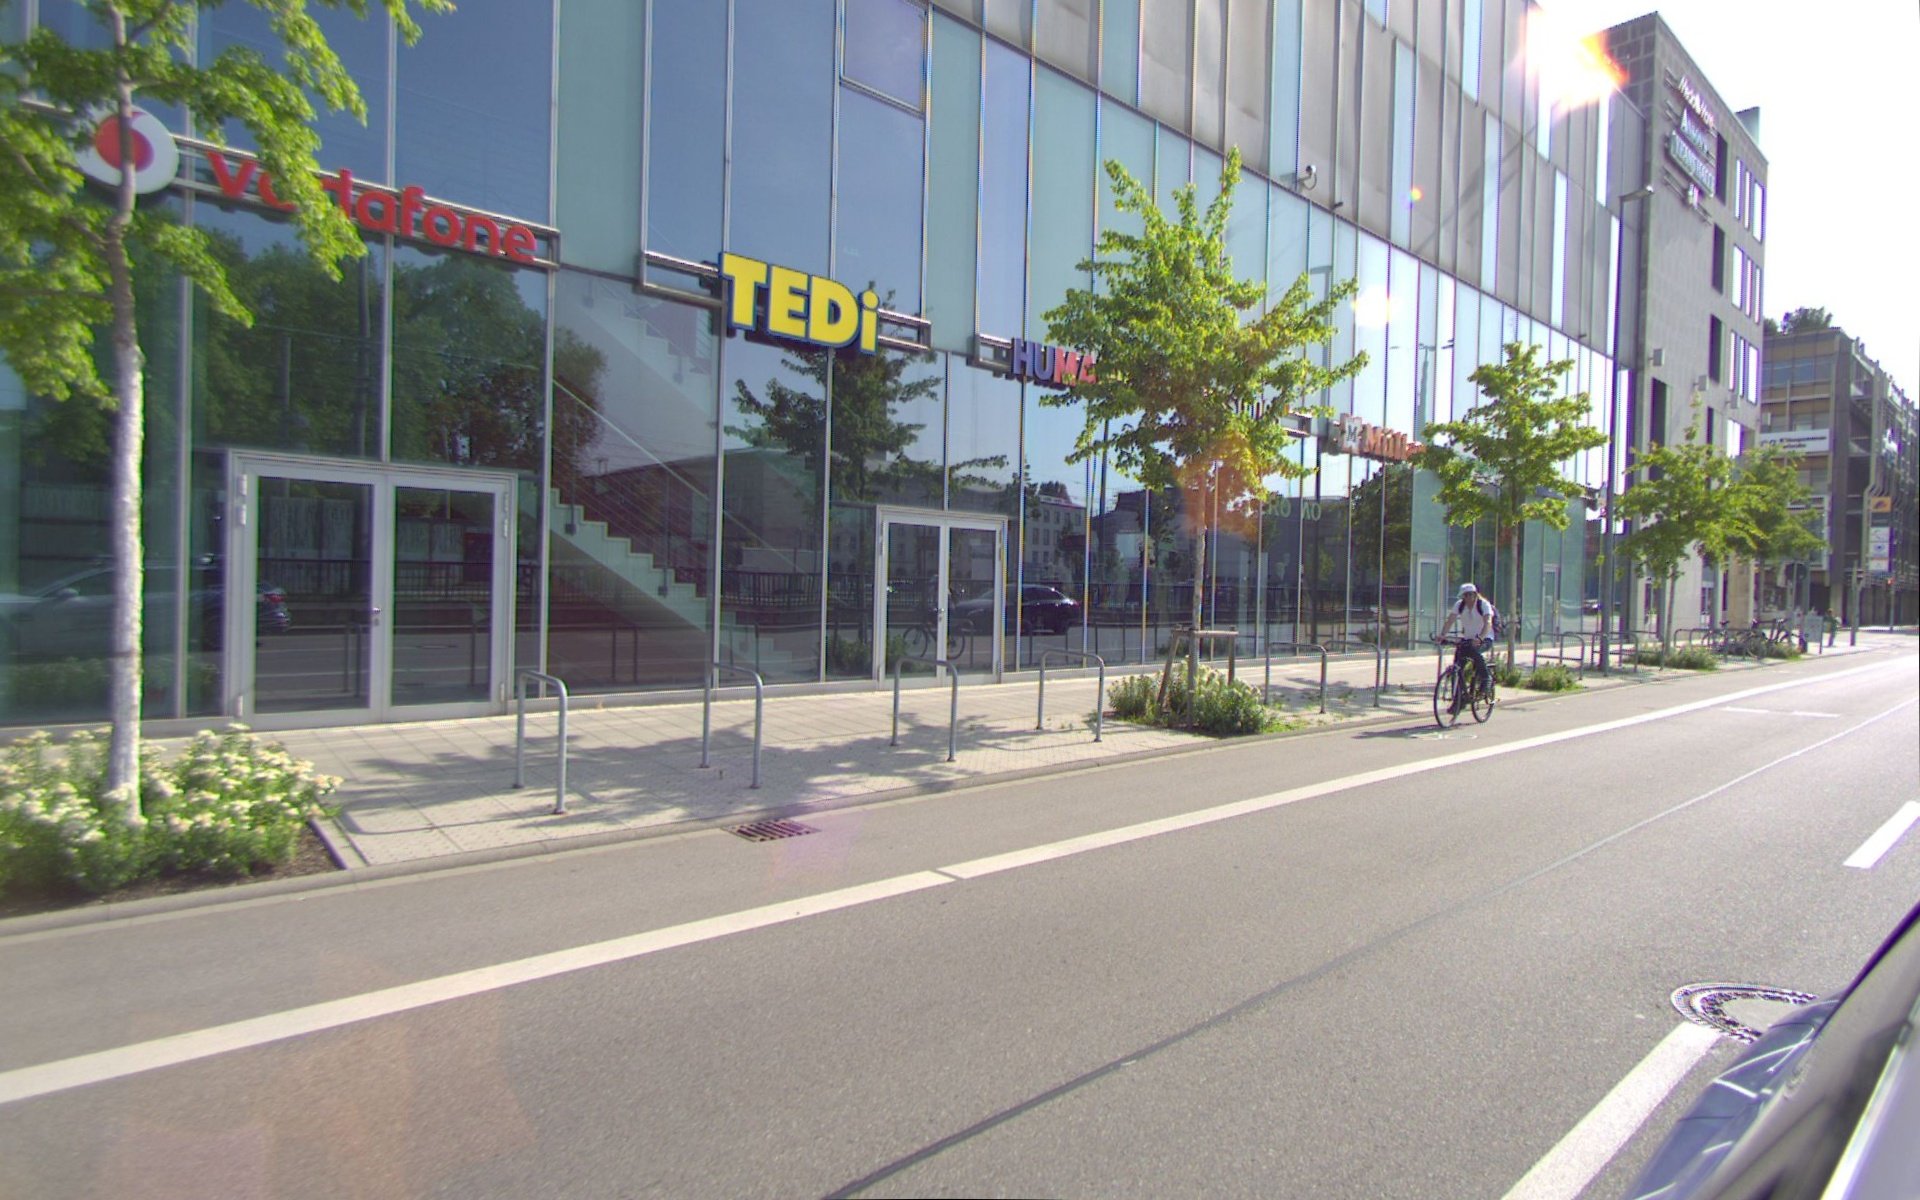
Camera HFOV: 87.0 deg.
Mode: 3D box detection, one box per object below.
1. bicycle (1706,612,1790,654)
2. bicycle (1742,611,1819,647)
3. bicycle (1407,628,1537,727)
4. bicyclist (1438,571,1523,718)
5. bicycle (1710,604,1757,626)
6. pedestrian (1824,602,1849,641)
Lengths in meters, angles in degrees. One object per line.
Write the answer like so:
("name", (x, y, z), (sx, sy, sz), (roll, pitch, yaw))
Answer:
("bicycle", (23.361, 0.956, 30.029), (0.481, 1.123, 1.883), (1, 1, -38))
("bicycle", (26.486, 0.915, 32.691), (0.674, 1.127, 1.844), (1, -1, -38))
("bicycle", (6.427, 0.928, 12.666), (2.013, 1.132, 0.662), (1, -1, -38))
("bicyclist", (6.565, 0.539, 12.764), (0.755, 1.771, 0.653), (1, 0, -38))
("bicycle", (39.478, 0.767, 51.672), (0.601, 1.030, 1.806), (1, 1, -40))
("pedestrian", (35.244, 0.866, 40.701), (0.707, 1.506, 0.595), (2, 0, 43))
